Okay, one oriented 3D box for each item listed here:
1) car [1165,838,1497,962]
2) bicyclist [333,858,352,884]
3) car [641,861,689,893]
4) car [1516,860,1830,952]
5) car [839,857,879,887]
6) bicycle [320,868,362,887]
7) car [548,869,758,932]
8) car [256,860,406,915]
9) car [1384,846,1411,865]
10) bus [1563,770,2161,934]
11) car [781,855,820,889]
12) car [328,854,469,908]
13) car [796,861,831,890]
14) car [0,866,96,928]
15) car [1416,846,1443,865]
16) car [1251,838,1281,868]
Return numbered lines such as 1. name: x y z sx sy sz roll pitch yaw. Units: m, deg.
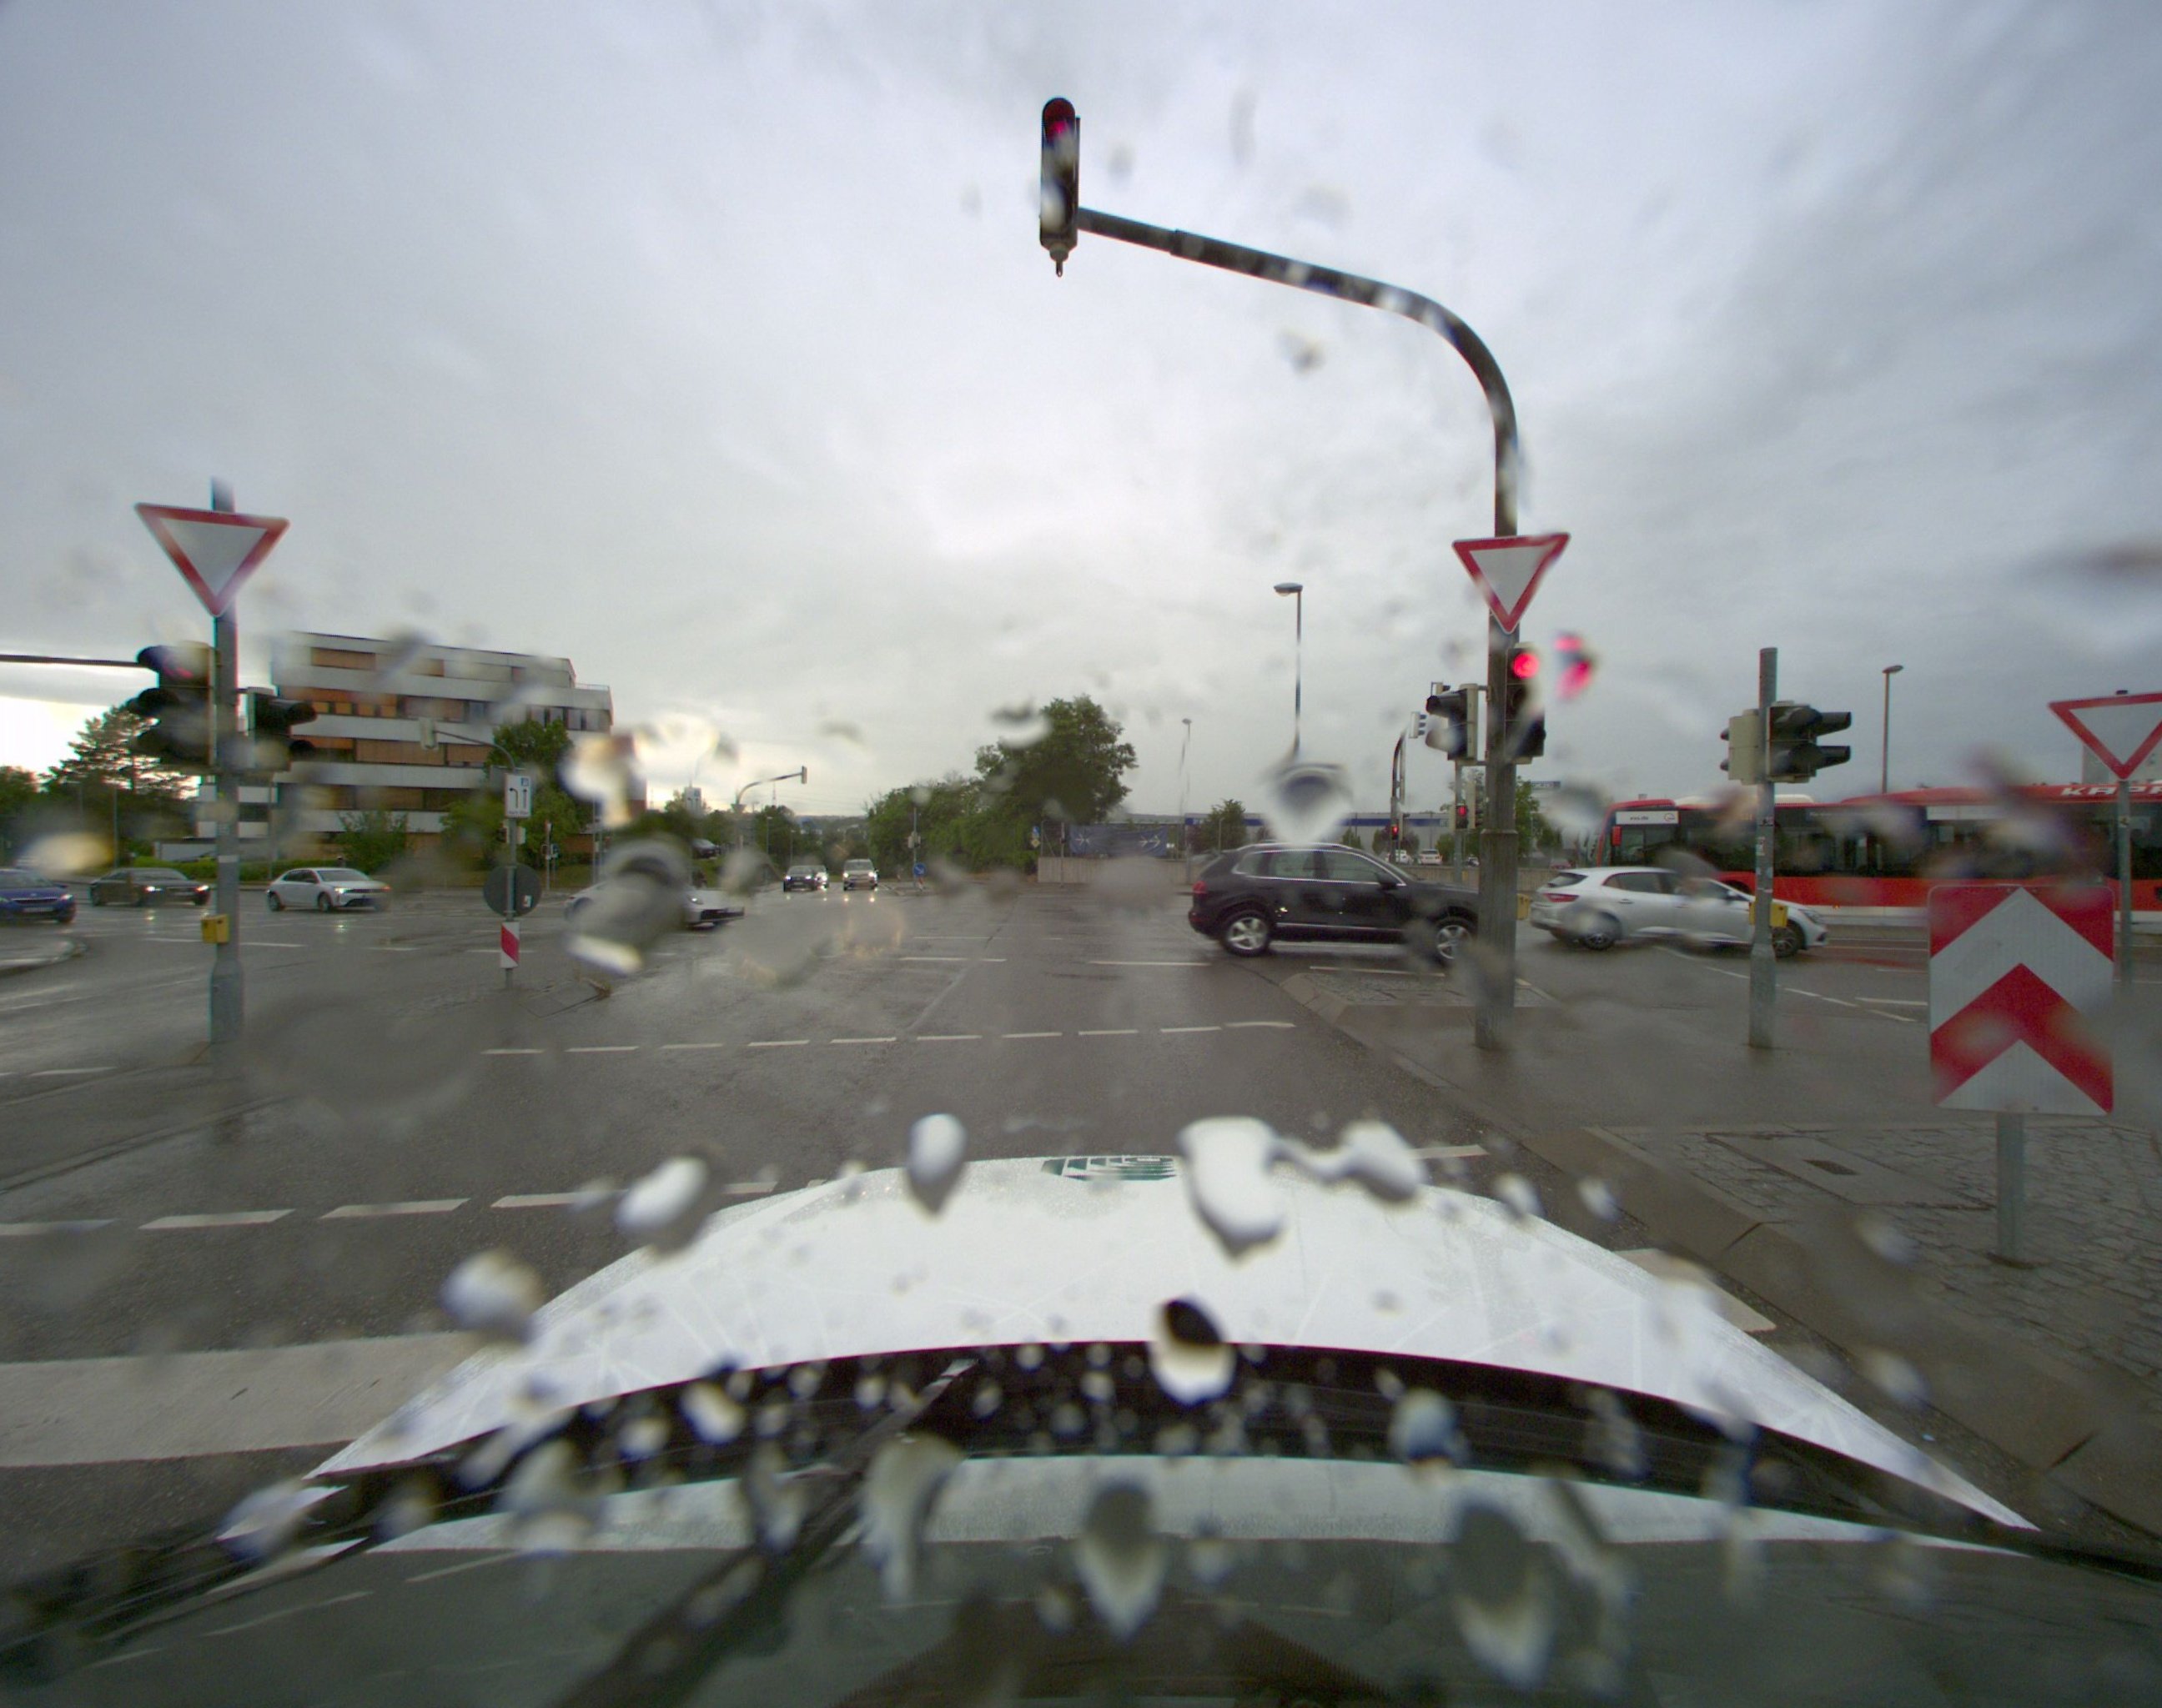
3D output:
1. car: 3.768 0.631 12.715 4.561 1.702 2.009 0 0 16
2. bicyclist: -42.458 0.972 46.810 0.543 1.446 0.602 -1 0 -7
3. car: -26.731 1.432 52.471 1.997 1.895 3.979 0 0 -15
4. car: 10.194 0.830 14.416 4.107 1.416 1.936 0 0 16
5. car: -13.050 1.015 48.040 1.995 1.618 3.985 0 0 -11
6. bicycle: -42.509 1.359 46.806 1.772 1.052 0.608 0 0 -7
7. car: -10.432 1.080 19.957 4.400 1.358 1.864 0 0 14
8. car: -24.954 1.056 27.129 3.954 1.684 2.010 0 0 19
9. car: 26.382 0.108 67.840 1.976 1.478 4.021 0 0 22
10. bus: 18.679 -0.119 19.226 12.176 3.321 3.090 1 0 19
11. car: -16.785 1.041 48.838 1.998 1.895 3.978 0 0 -16
12. car: -24.915 0.944 29.751 4.108 1.840 2.009 0 0 17
13. car: -18.308 1.431 55.945 1.997 1.895 3.980 0 0 -15
14. car: -28.724 1.100 21.520 3.959 1.514 1.852 0 0 13
15. car: 28.688 0.117 67.161 1.976 1.478 4.021 0 0 21
16. car: 13.096 -0.066 57.539 1.979 2.013 4.015 0 0 13
